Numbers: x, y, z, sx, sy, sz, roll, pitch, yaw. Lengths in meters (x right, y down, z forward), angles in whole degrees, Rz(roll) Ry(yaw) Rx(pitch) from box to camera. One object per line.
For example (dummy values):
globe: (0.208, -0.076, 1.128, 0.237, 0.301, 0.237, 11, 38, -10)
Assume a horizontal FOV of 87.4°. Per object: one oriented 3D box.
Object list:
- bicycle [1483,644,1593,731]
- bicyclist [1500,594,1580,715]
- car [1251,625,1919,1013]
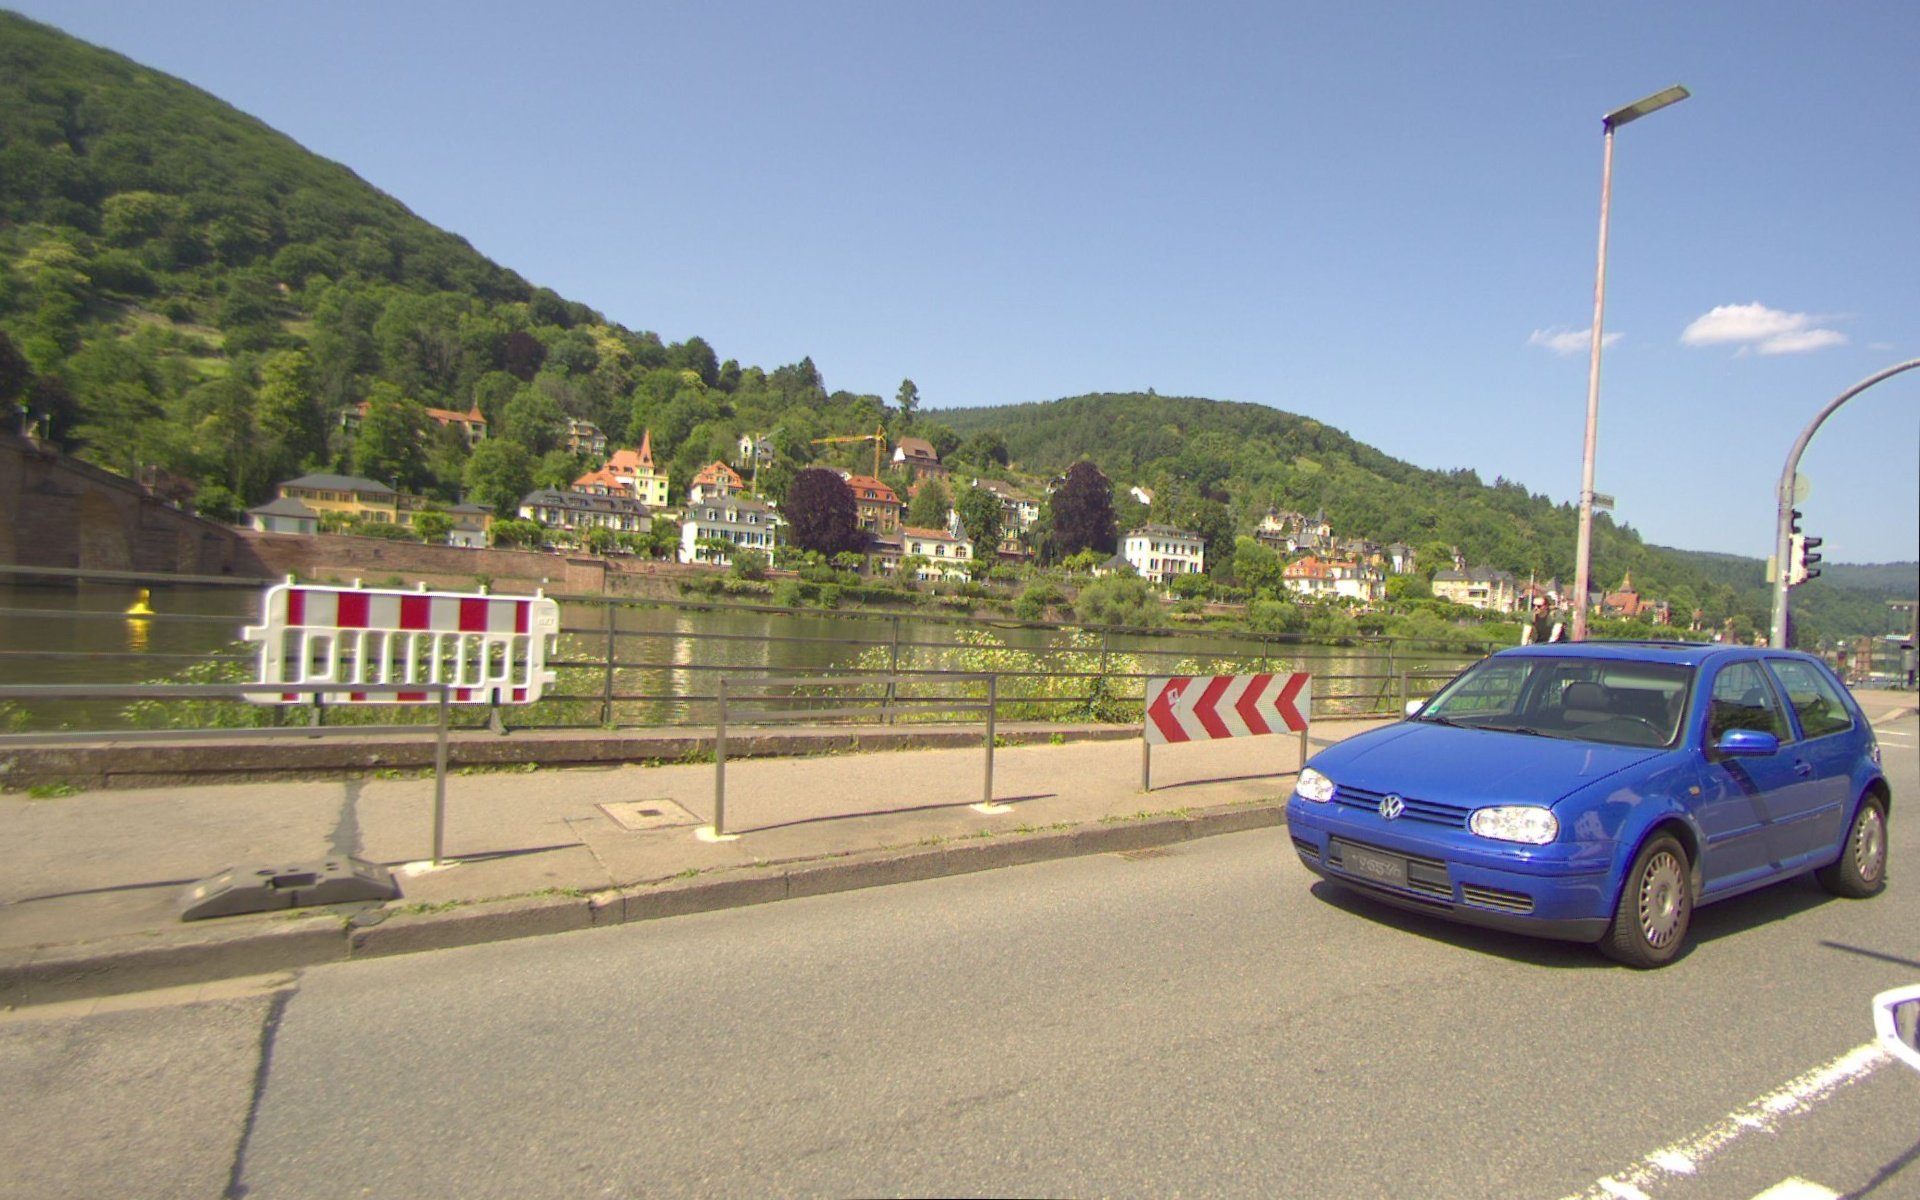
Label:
bicycle: (8.185, 1.202, 14.177, 2.017, 1.127, 0.661, 3, -2, -39)
bicyclist: (8.197, 0.757, 14.190, 0.971, 1.653, 0.661, 2, -1, -39)
car: (3.857, 0.966, 5.853, 4.277, 1.510, 1.720, 2, -2, -31)
